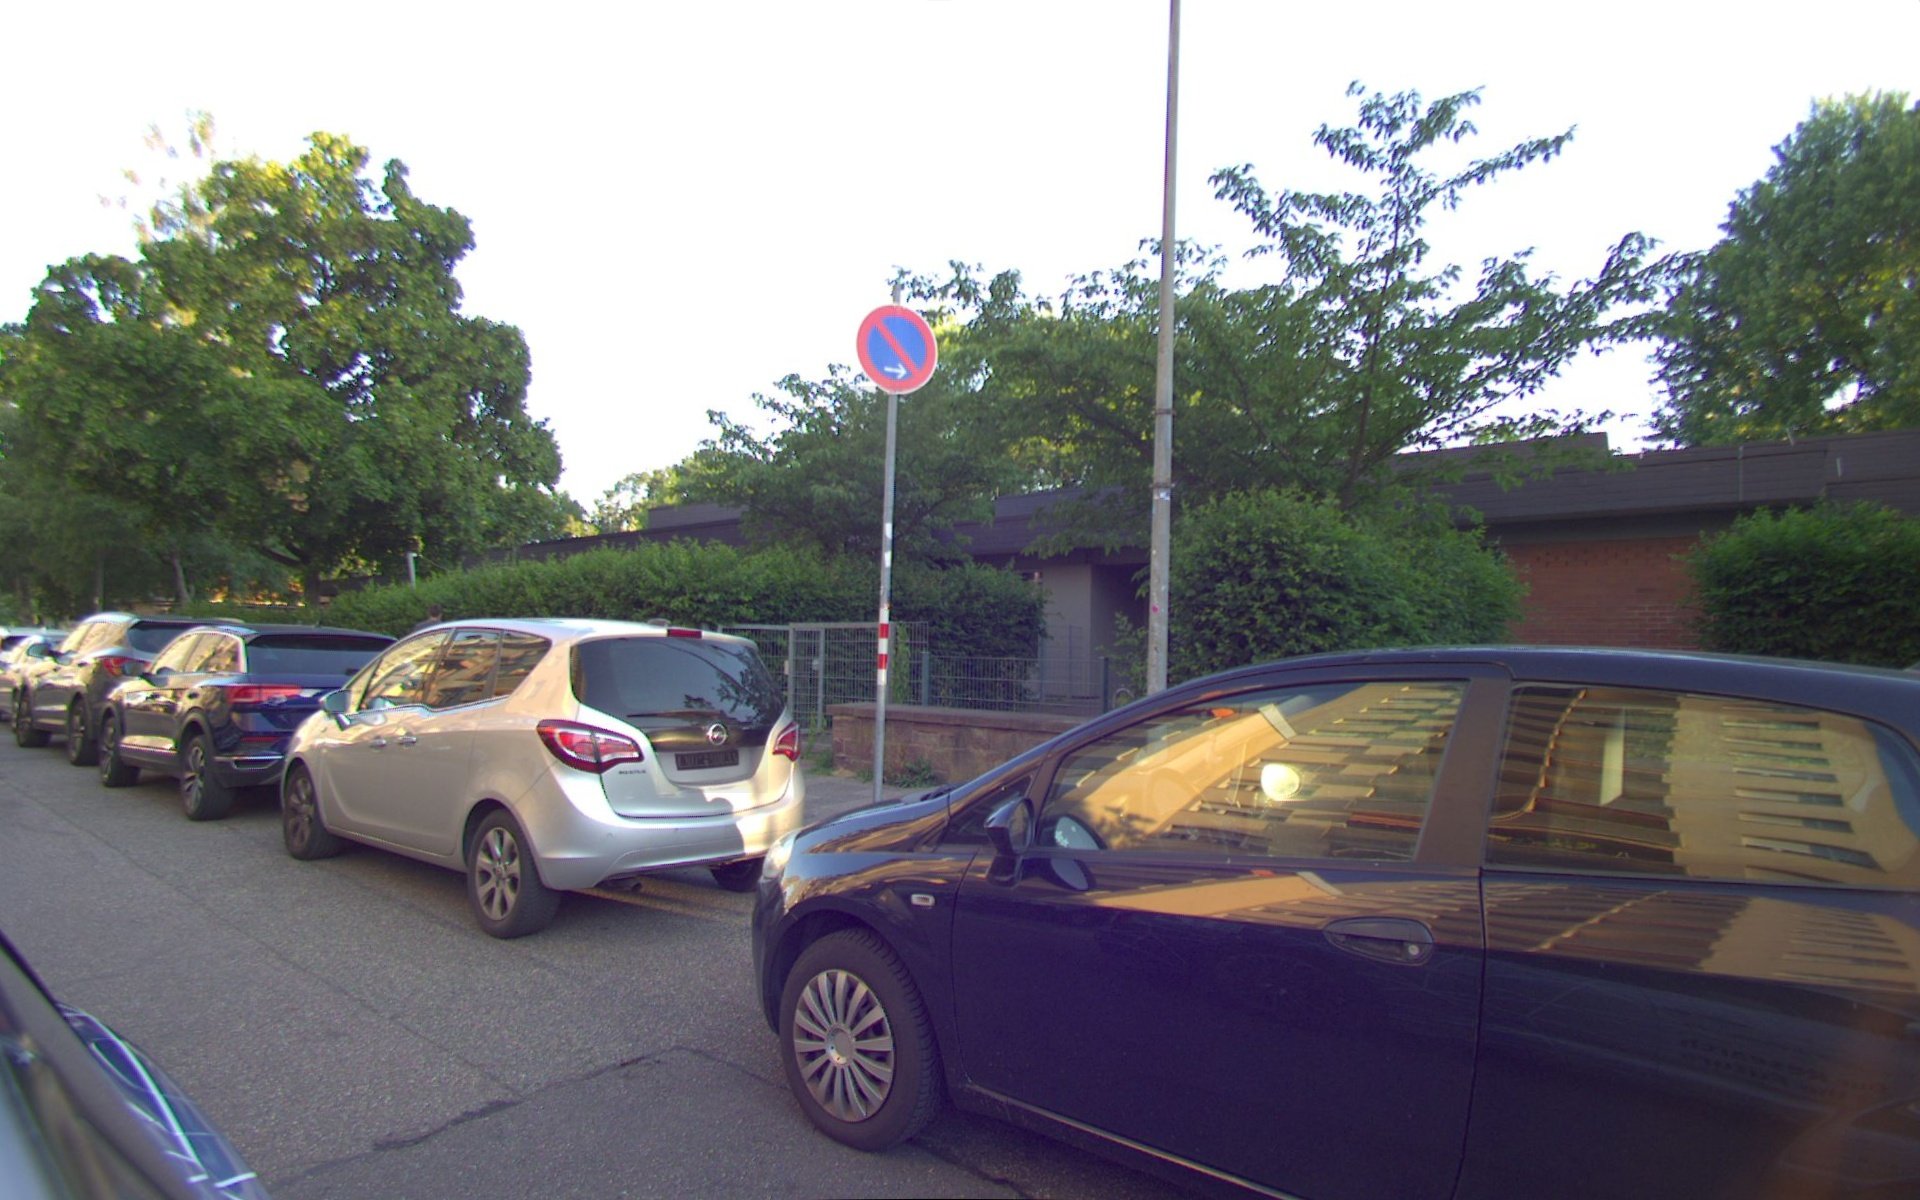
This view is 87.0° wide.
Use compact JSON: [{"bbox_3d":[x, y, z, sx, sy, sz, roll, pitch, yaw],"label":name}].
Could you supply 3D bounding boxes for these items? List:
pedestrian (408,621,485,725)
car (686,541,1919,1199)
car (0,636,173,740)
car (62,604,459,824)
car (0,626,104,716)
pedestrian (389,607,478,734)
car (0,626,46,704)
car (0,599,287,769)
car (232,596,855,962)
[{"bbox_3d":[-7.947,1.102,15.656,0.900,1.519,0.741,-2,-1,38],"label":"pedestrian"},{"bbox_3d":[1.147,0.780,2.737,3.691,1.579,1.717,-2,-5,37],"label":"car"},{"bbox_3d":[-14.315,1.333,16.121,4.280,1.438,1.717,-2,-5,37],"label":"car"},{"bbox_3d":[-6.502,0.924,9.260,4.160,1.579,1.717,-2,-5,37],"label":"car"},{"bbox_3d":[-18.041,1.321,19.235,4.273,1.555,1.742,-2,-5,37],"label":"car"},{"bbox_3d":[-7.582,0.984,14.586,0.749,1.745,0.890,-2,-1,38],"label":"pedestrian"},{"bbox_3d":[-22.109,1.430,22.779,3.978,1.644,1.715,-2,-5,41],"label":"car"},{"bbox_3d":[-10.093,0.964,12.374,4.316,1.743,1.717,-2,-5,37],"label":"car"},{"bbox_3d":[-2.767,0.874,6.342,4.123,1.579,1.717,-2,-5,37],"label":"car"}]
